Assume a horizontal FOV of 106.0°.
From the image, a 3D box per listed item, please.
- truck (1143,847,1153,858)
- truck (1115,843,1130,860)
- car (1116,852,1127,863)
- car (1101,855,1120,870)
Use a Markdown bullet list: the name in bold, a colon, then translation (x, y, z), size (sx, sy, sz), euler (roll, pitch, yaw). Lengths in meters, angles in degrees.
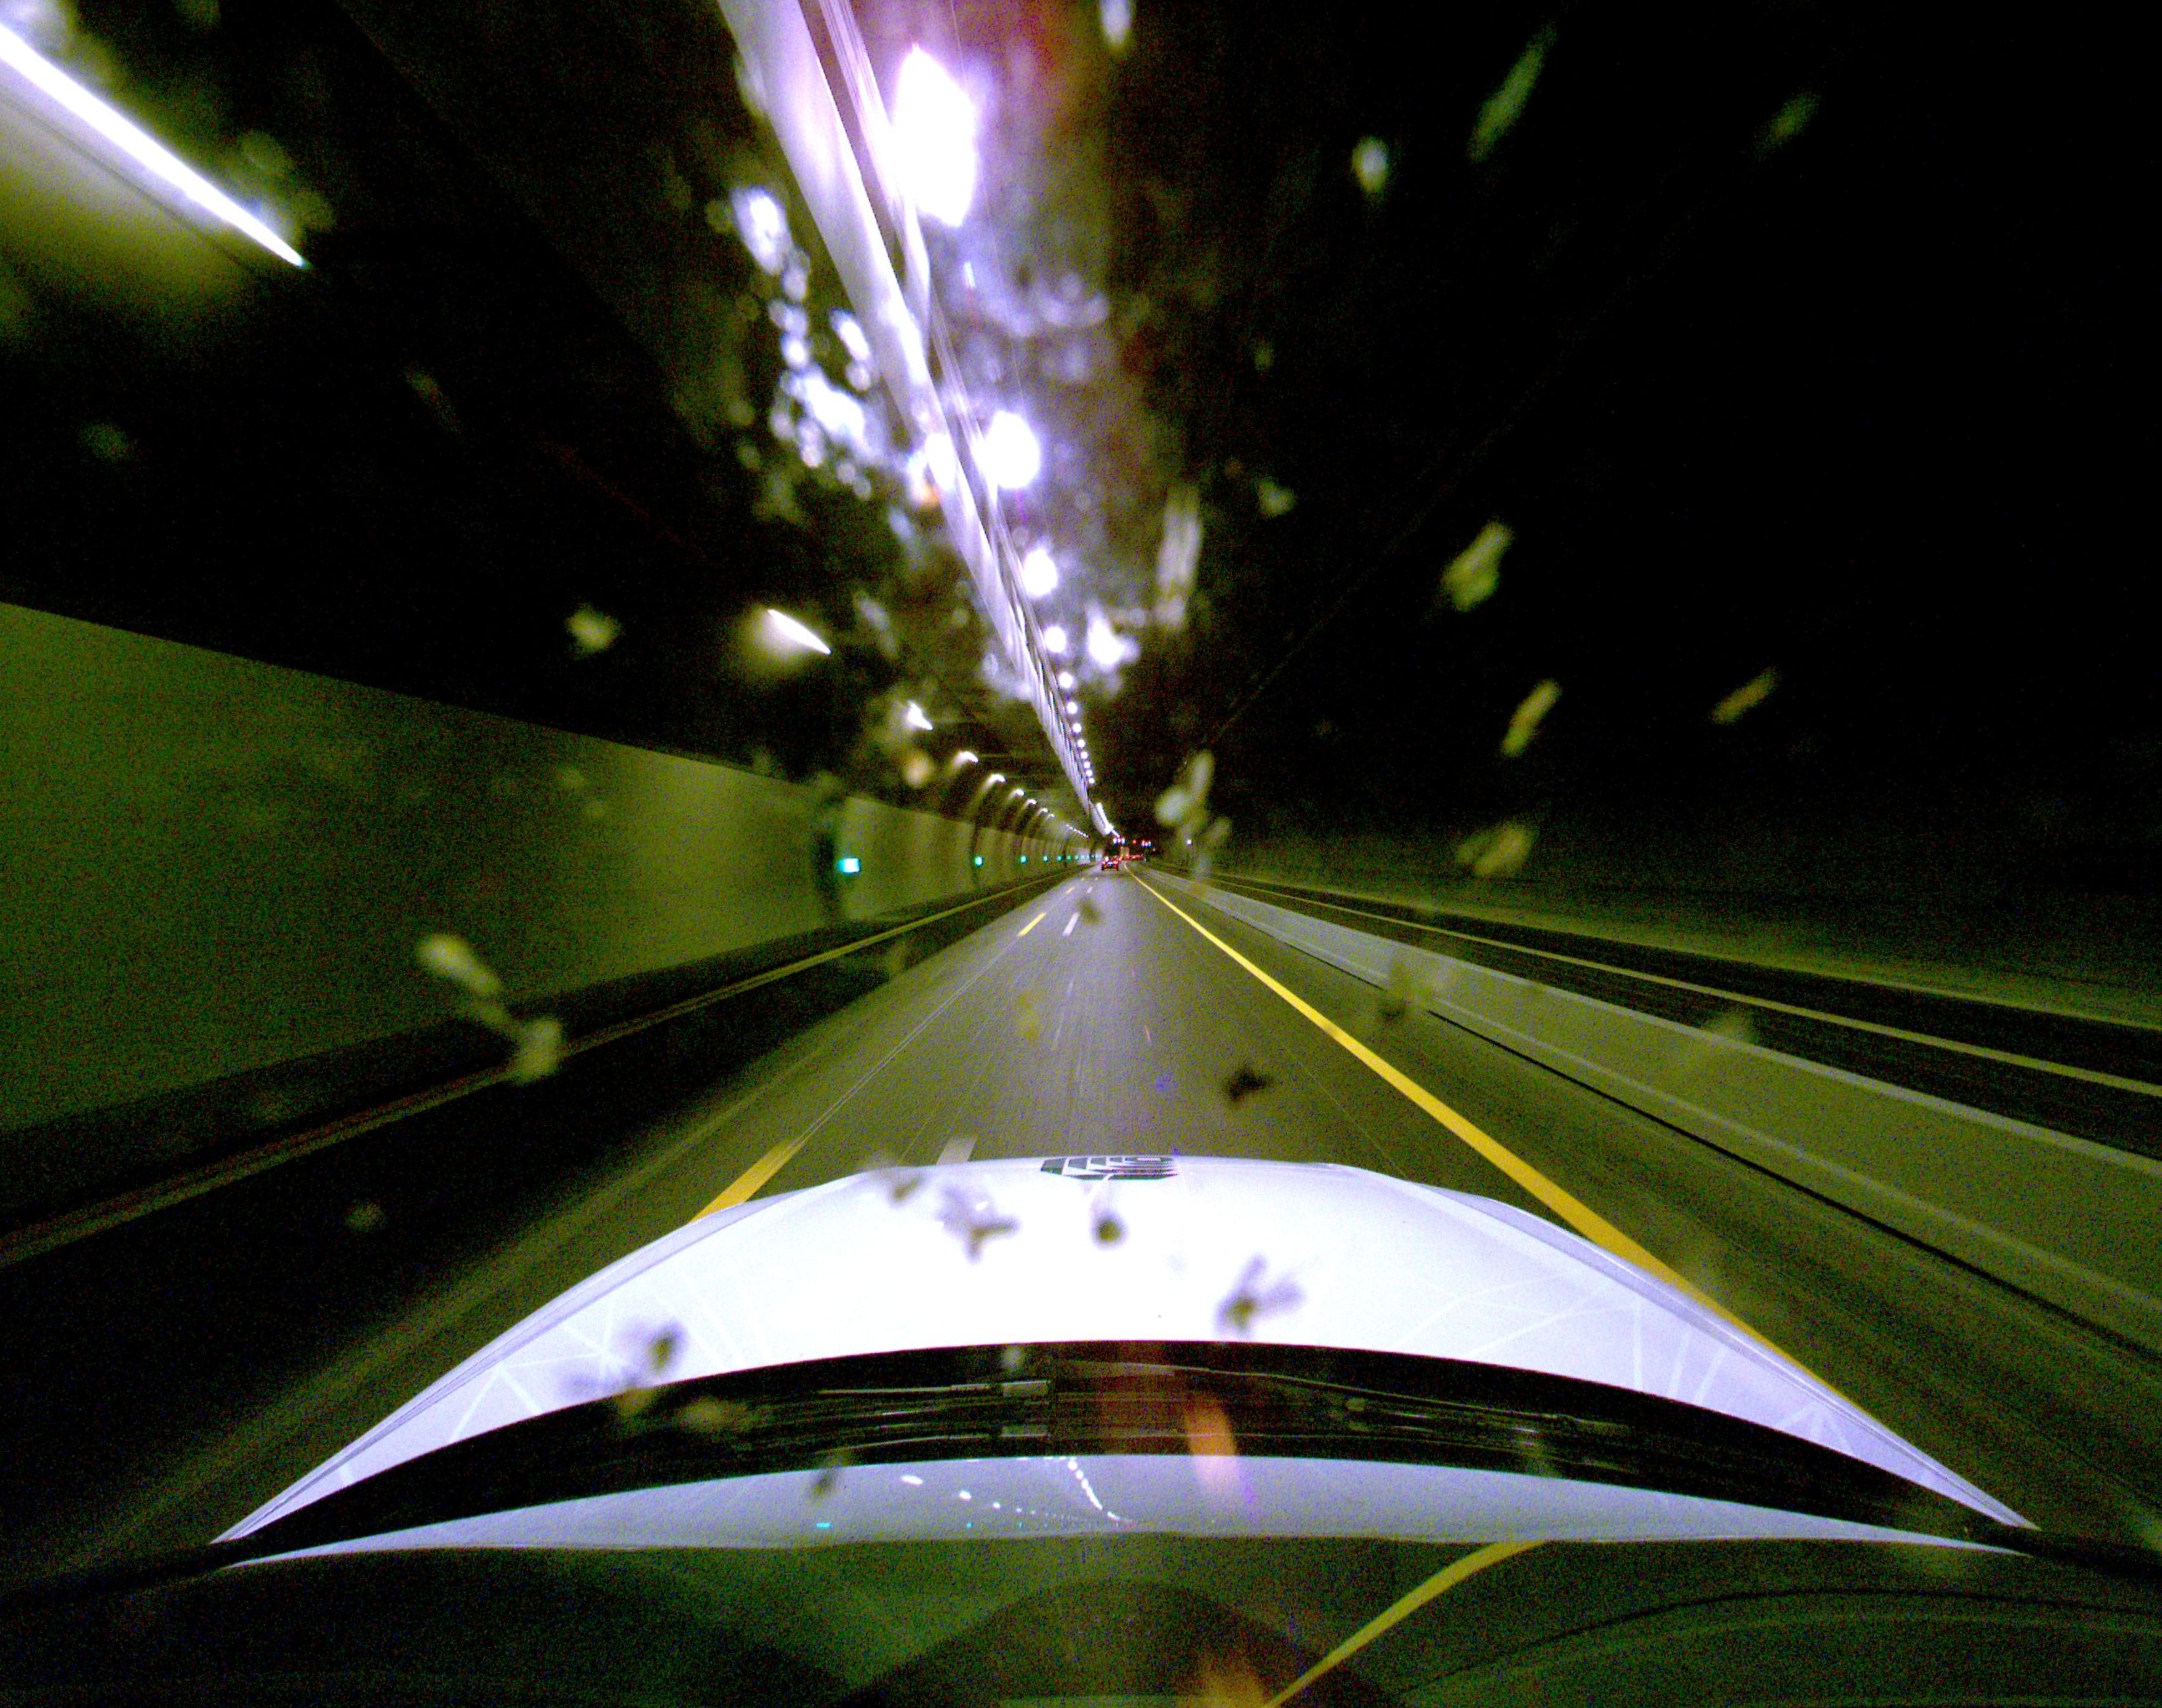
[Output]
- **truck**: translation (20.006, -0.338, 244.280), size (2.879, 3.272, 8.410), euler (-1, -1, 4)
- **truck**: translation (13.340, -0.771, 260.389), size (4.526, 4.987, 9.608), euler (-1, -1, 4)
- **car**: translation (7.777, 0.633, 155.815), size (1.986, 2.013, 4.002), euler (-1, 0, 2)
- **car**: translation (3.157, 0.889, 87.234), size (1.881, 1.607, 4.001), euler (-1, -1, 1)
